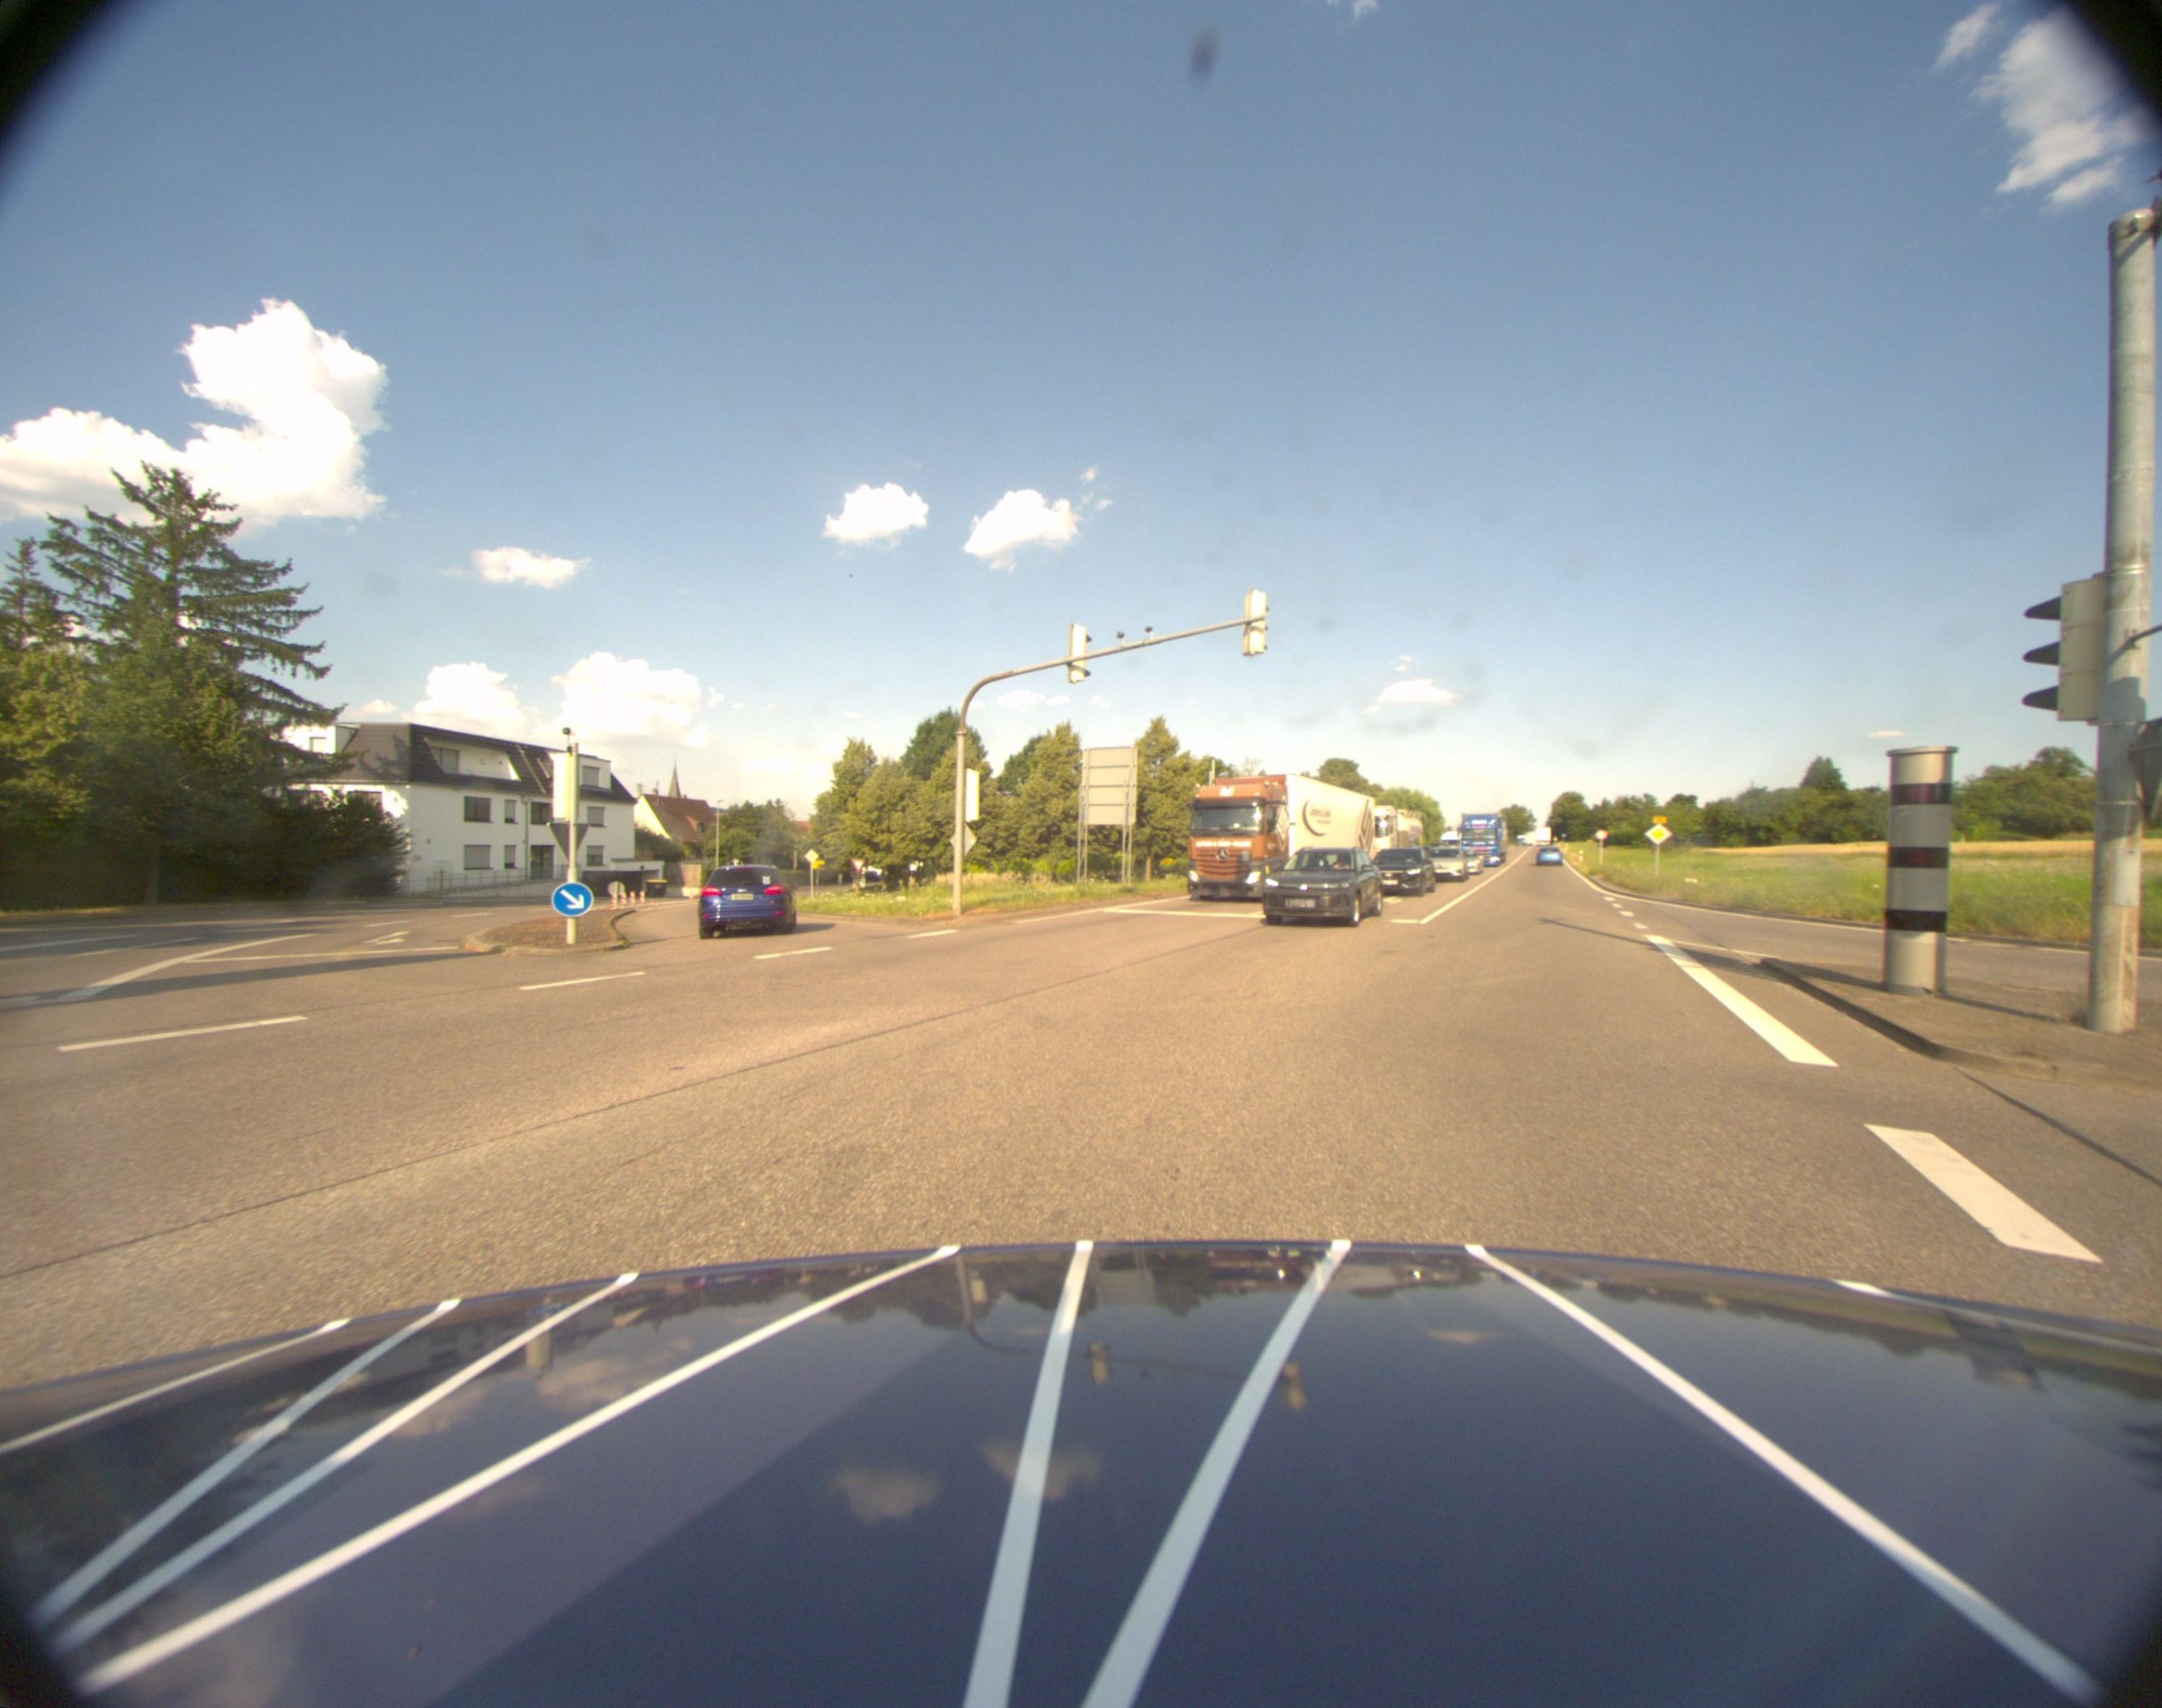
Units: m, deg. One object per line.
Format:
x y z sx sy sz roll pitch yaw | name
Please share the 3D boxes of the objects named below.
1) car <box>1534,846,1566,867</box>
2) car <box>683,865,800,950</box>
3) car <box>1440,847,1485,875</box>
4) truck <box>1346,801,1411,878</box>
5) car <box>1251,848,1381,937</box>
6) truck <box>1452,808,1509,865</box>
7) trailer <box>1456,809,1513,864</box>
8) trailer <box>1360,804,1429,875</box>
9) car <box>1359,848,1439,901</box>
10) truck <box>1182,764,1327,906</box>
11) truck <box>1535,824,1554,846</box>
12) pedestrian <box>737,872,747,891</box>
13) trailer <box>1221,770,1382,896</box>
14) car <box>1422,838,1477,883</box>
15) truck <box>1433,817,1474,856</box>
35.062 0.155 56.872 1.760 1.492 4.008 1 0 29 | car
-7.195 1.026 16.489 1.795 1.489 4.295 -2 0 -18 | car
21.995 0.398 43.696 1.995 1.477 4.007 -1 1 31 | car
15.823 -0.741 40.191 2.257 3.783 5.696 -1 1 31 | truck
5.294 0.719 16.698 1.784 1.620 4.477 -1 1 30 | car
29.852 -1.279 56.691 3.367 3.982 5.612 -1 1 31 | truck
33.561 -1.429 62.860 3.410 3.982 13.774 -1 1 31 | trailer
18.699 -0.840 44.958 2.260 3.755 9.542 -2 0 31 | trailer
11.017 0.637 26.132 1.771 1.604 4.556 -1 1 33 | car
5.916 -0.582 24.967 2.533 4.020 6.674 -1 1 32 | truck
101.457 -4.146 166.296 3.442 4.471 9.504 -1 1 31 | truck
-30.991 2.509 69.461 0.617 1.718 0.639 -1 1 1 | pedestrian
9.577 -0.741 31.013 2.533 4.043 14.363 -1 0 31 | trailer
17.107 0.278 35.209 1.903 1.936 4.380 -1 0 31 | car
38.604 -1.805 78.383 2.523 3.752 12.922 -1 1 32 | truck
